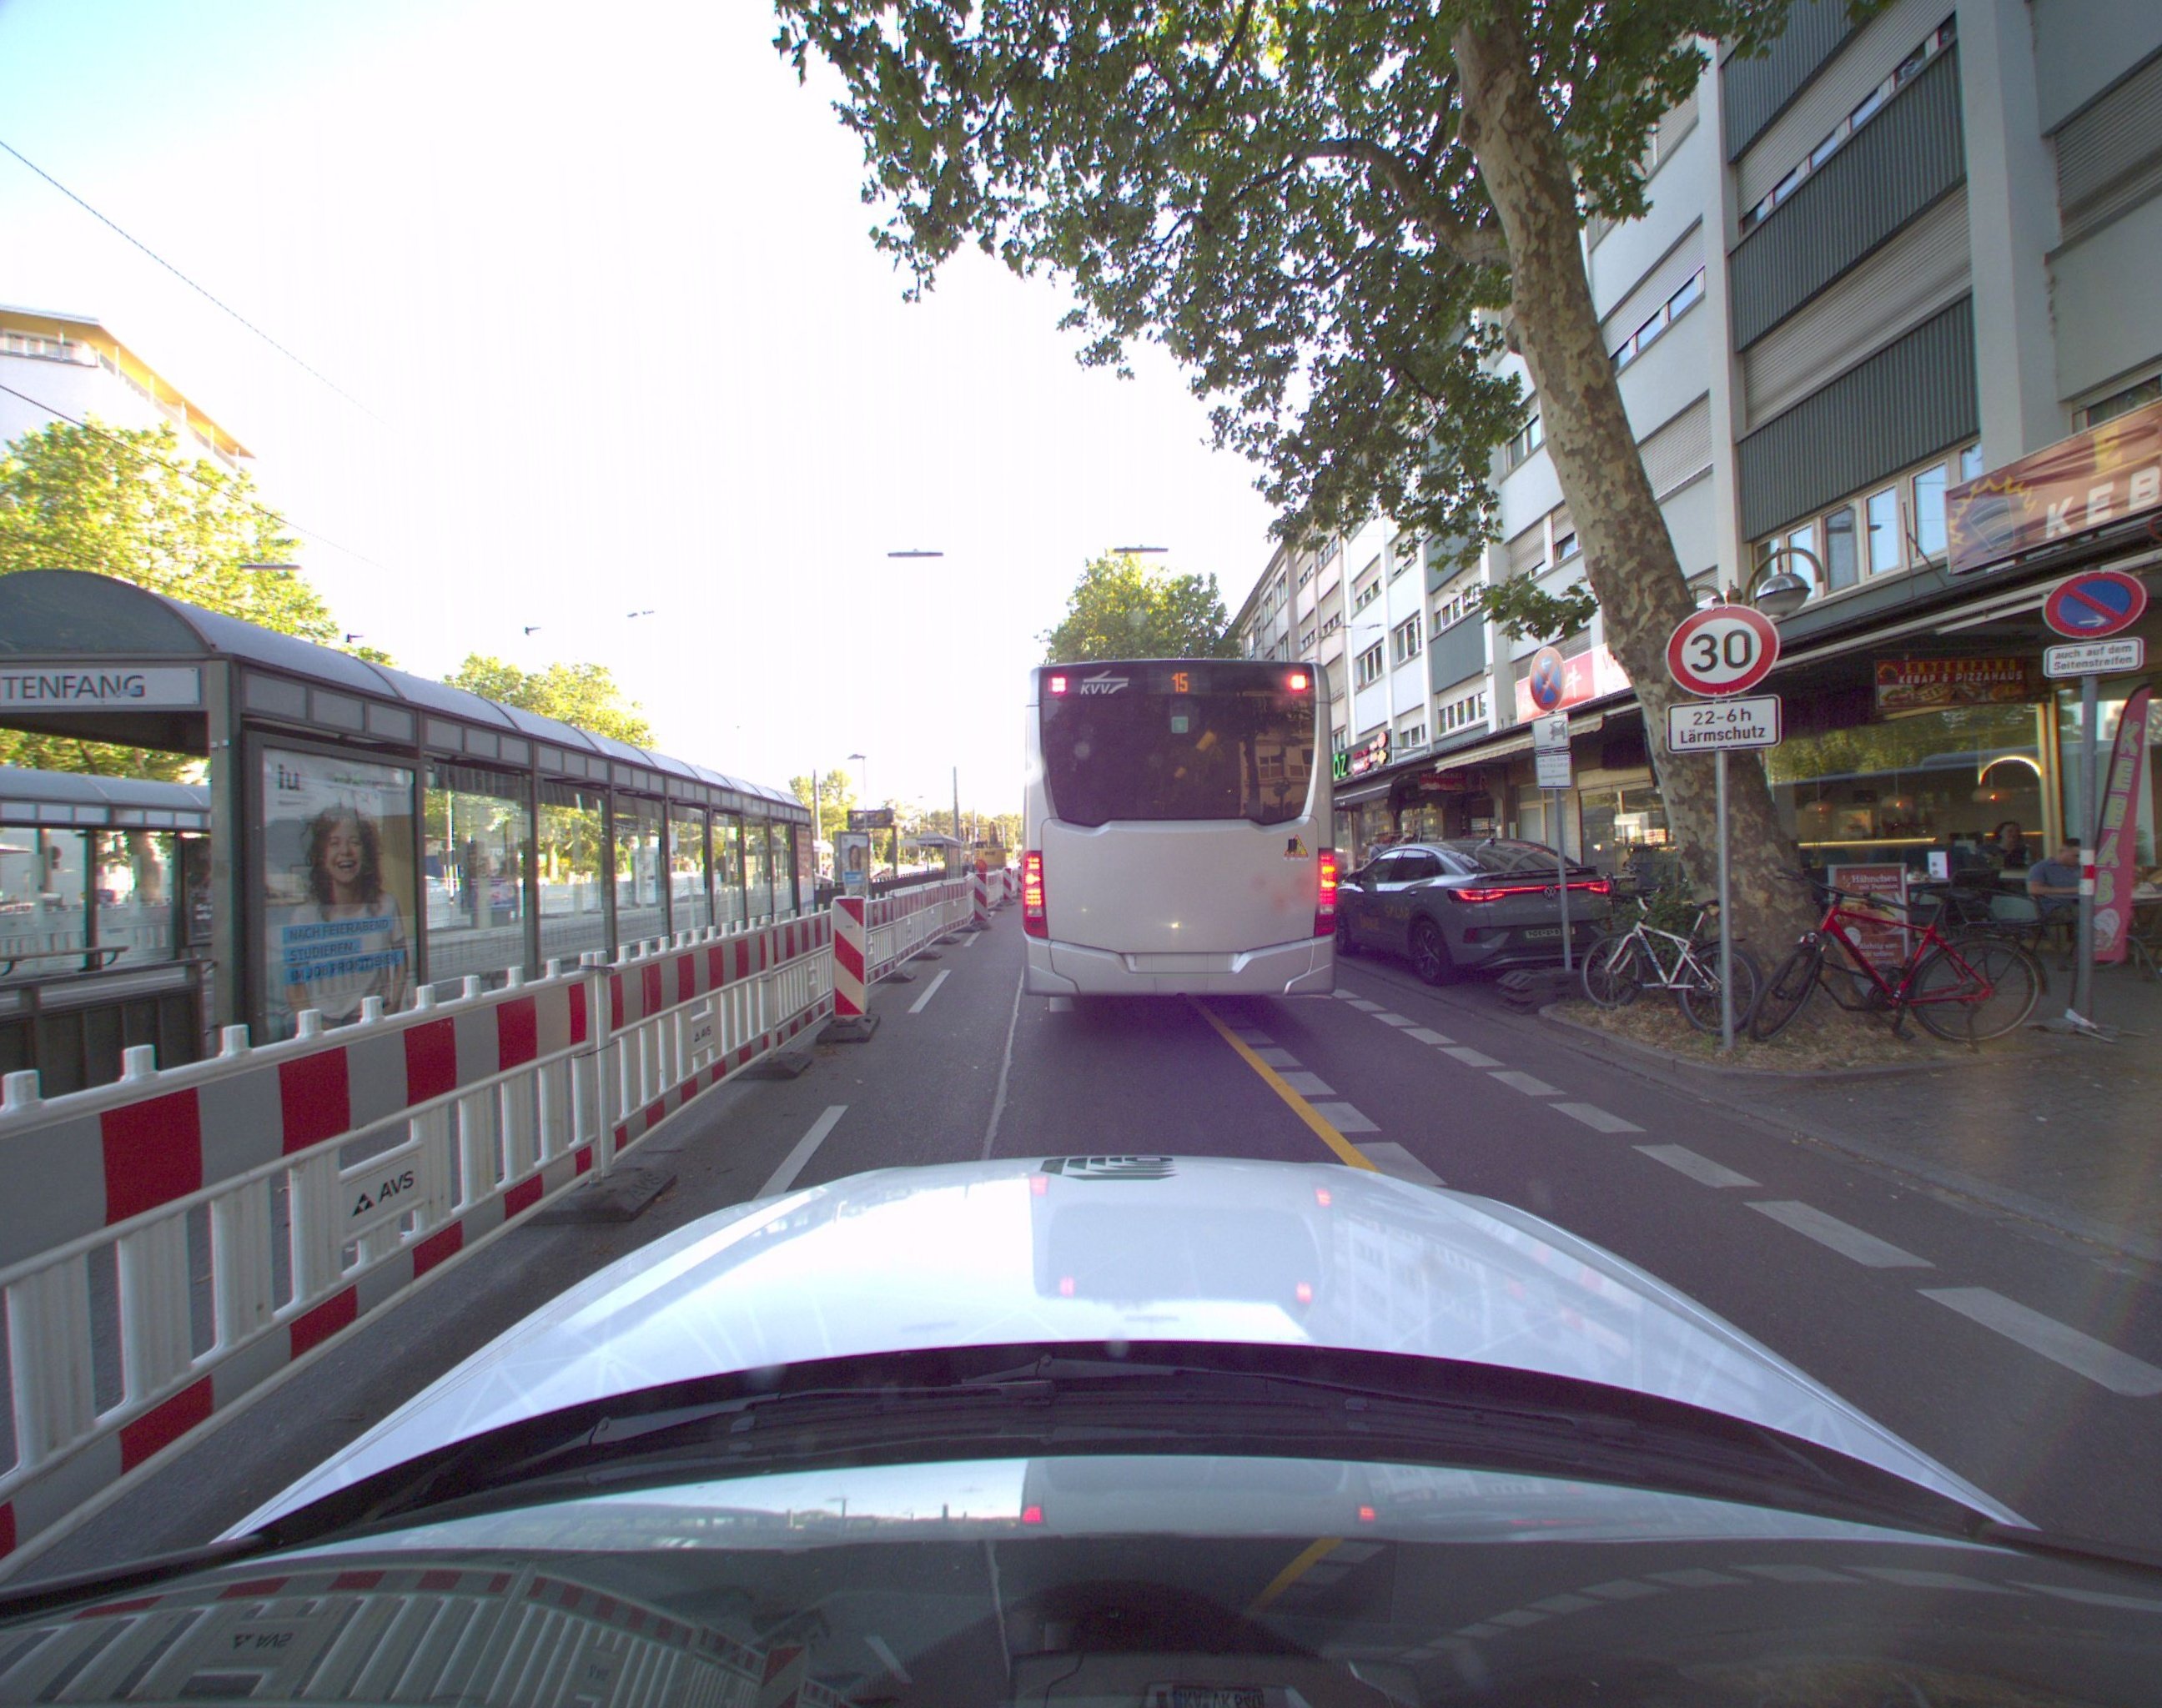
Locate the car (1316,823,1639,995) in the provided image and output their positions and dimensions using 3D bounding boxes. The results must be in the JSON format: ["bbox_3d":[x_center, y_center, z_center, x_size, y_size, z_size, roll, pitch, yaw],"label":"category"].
[{"bbox_3d":[4.605,0.558,10.311,1.736,1.597,4.294,-4,0,-3],"label":"car"}]

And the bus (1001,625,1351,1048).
[{"bbox_3d":[0.919,-0.126,11.360,2.598,3.170,10.297,-1,0,2],"label":"bus"}]

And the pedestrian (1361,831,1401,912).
[{"bbox_3d":[7.692,0.452,20.896,0.689,2.014,0.696,-2,-1,-1],"label":"pedestrian"}]

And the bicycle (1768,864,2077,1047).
[{"bbox_3d":[5.495,0.671,5.368,1.450,1.066,0.297,-6,2,13],"label":"bicycle"}]

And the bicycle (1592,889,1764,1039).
[{"bbox_3d":[4.482,0.783,6.187,0.294,0.927,1.127,-6,2,-8],"label":"bicycle"}]

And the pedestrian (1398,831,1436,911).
[{"bbox_3d":[8.657,0.442,21.000,0.610,2.014,0.696,-2,-1,0],"label":"pedestrian"}]

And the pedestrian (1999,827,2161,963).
[{"bbox_3d":[9.625,0.381,7.845,0.673,1.203,0.706,-5,-1,11],"label":"pedestrian"}]

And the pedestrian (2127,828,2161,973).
[{"bbox_3d":[9.562,0.385,6.809,0.612,1.243,0.714,-5,-1,11],"label":"pedestrian"}]

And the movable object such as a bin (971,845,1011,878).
[{"bbox_3d":[-7.044,0.596,64.005,2.800,2.462,3.995,-2,0,-3],"label":"movable object such as a bin"}]
